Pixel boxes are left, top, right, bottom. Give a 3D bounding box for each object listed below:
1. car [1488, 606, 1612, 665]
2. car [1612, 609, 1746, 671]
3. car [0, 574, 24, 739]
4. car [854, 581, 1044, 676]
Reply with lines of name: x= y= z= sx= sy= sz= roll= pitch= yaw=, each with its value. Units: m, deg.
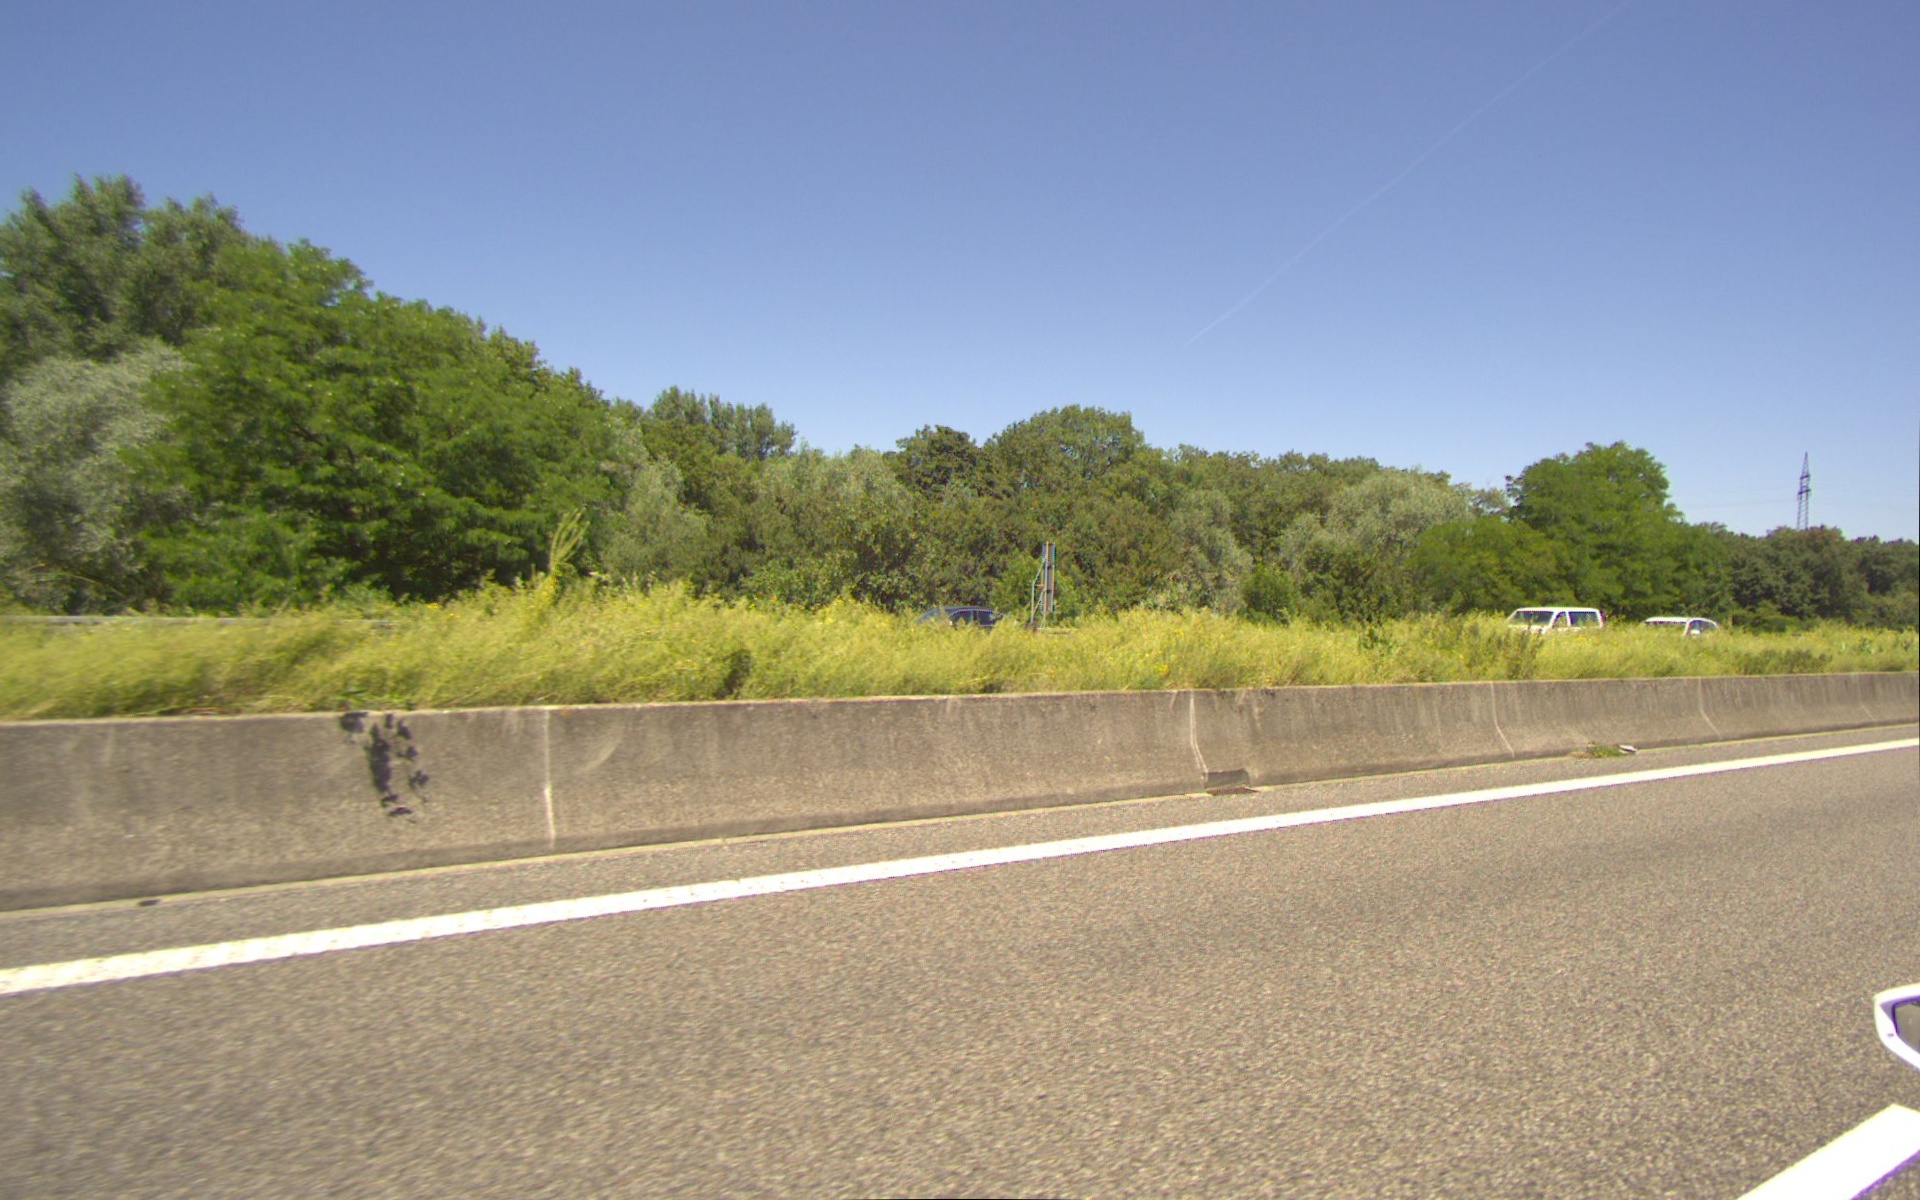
car: x=21.822 y=1.288 z=37.117 sx=4.565 sy=2.040 sz=1.984 roll=2 pitch=0 yaw=-31
car: x=23.950 y=1.305 z=33.434 sx=4.667 sy=1.924 sz=1.895 roll=2 pitch=0 yaw=-31
car: x=-13.448 y=0.651 z=11.238 sx=3.953 sy=2.040 sz=1.984 roll=2 pitch=0 yaw=-31
car: x=-0.233 y=0.648 z=23.378 sx=3.953 sy=2.040 sz=1.984 roll=2 pitch=0 yaw=-31
